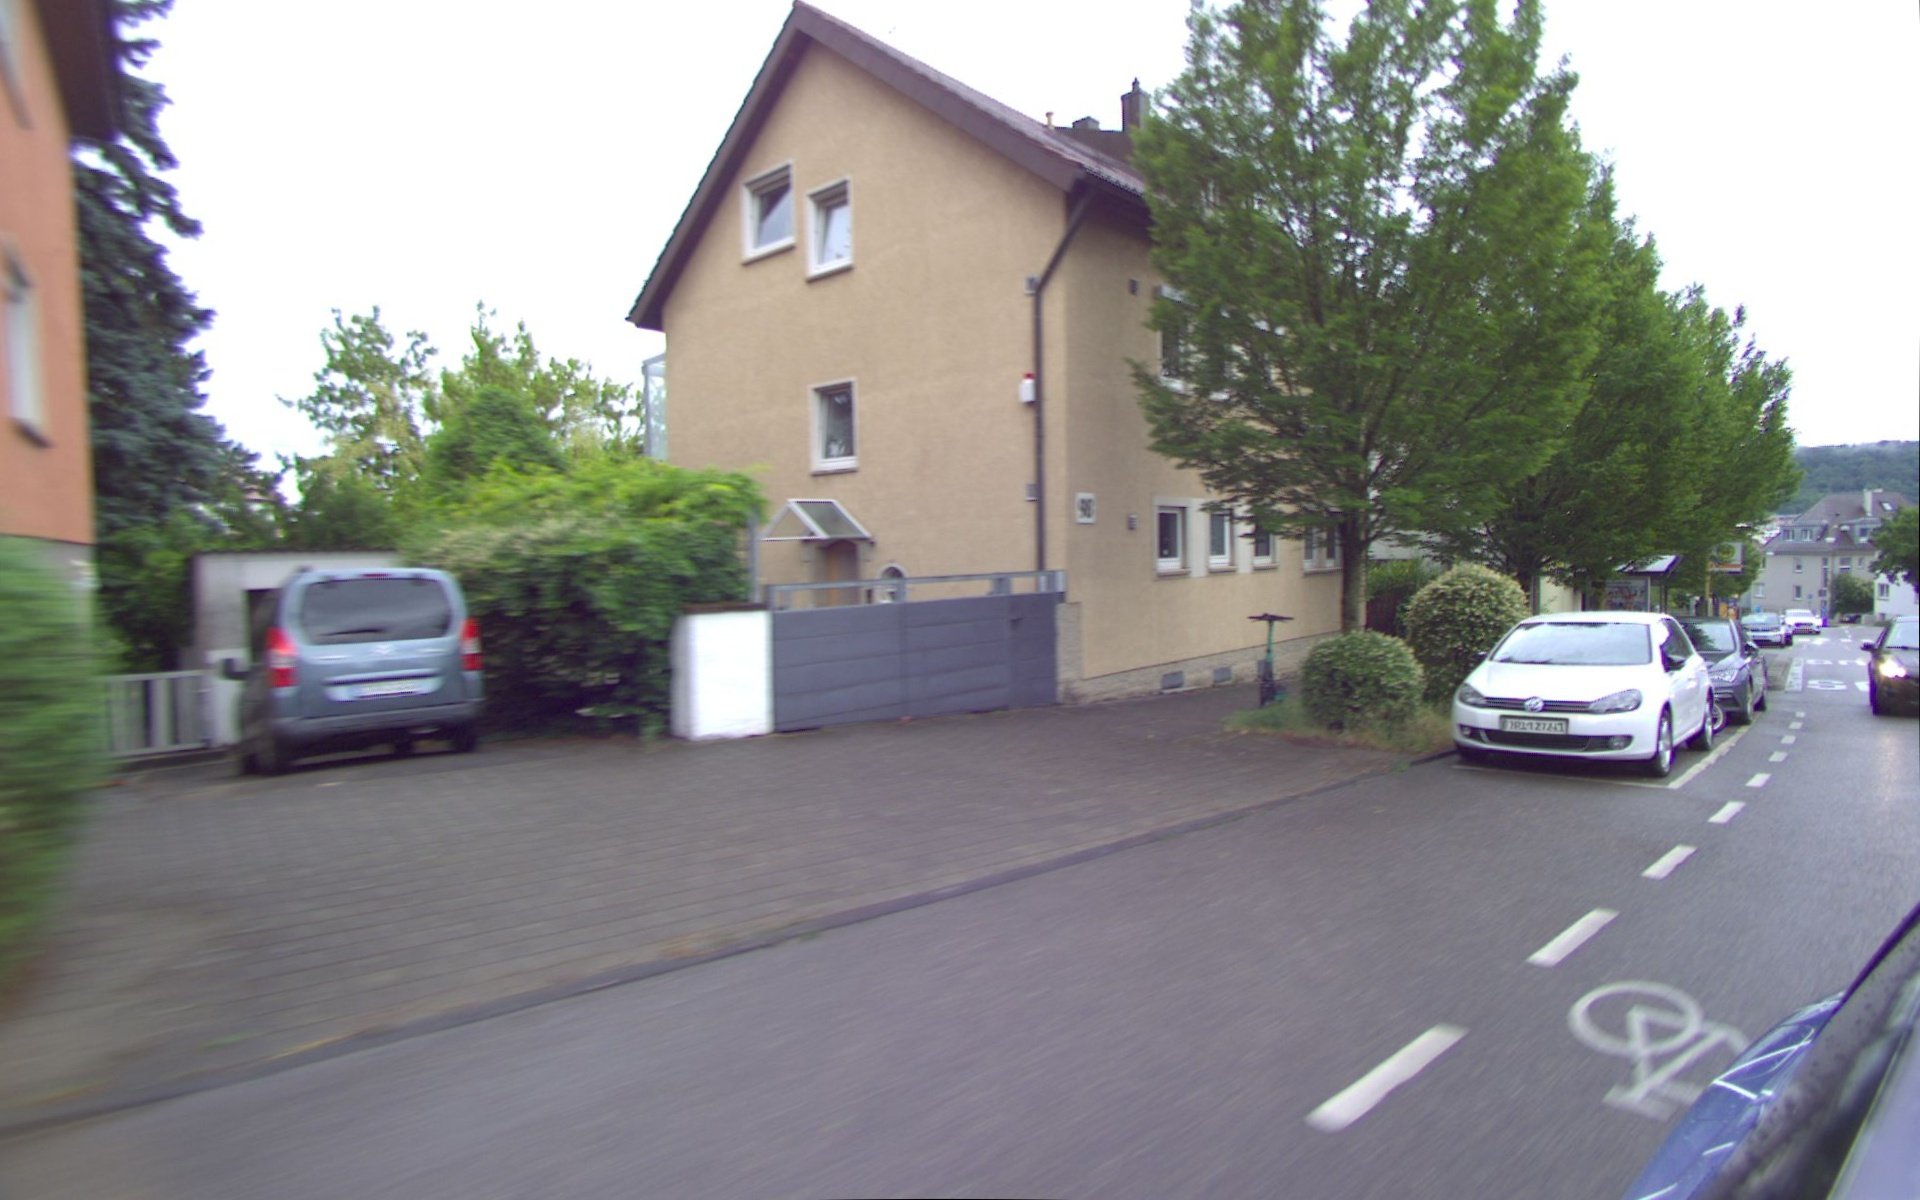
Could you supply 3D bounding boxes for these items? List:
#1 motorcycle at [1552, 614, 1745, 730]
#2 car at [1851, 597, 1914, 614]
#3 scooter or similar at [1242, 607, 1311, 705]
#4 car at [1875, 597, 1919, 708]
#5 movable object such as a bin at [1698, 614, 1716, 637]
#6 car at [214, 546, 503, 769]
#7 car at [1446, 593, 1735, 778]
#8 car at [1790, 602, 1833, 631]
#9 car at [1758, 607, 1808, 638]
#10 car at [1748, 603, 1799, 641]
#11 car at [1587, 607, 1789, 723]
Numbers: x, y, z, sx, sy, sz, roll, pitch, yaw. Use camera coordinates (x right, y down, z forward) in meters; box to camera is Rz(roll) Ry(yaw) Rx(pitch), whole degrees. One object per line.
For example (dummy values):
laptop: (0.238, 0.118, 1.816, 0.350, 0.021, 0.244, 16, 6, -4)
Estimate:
motorcycle: (8.589, 0.854, 12.672, 1.910, 1.347, 0.776, -1, -2, 40)
car: (91.237, 0.523, 100.136, 4.168, 1.694, 1.866, 0, 0, 20)
scooter or similar: (4.323, 0.735, 13.782, 0.413, 1.261, 1.156, 1, 0, 44)
car: (15.135, 0.754, 15.215, 1.885, 1.549, 3.997, 0, 0, 40)
movable object such as a bin: (33.852, 1.156, 45.857, 0.594, 0.986, 0.486, 1, 4, -43)
car: (-6.319, 0.672, 10.397, 1.869, 1.831, 3.991, -2, -6, -40)
car: (6.517, 0.717, 10.275, 1.657, 1.508, 3.935, -1, -1, 45)
car: (58.887, 1.133, 70.023, 2.005, 1.927, 4.040, 0, 0, 36)
car: (40.486, 1.074, 49.874, 1.775, 1.457, 4.814, 0, -1, 38)
car: (36.873, 0.983, 45.887, 1.726, 1.628, 4.061, -2, -1, 39)
car: (10.849, 0.841, 14.952, 1.878, 1.434, 4.397, 0, 0, 43)
